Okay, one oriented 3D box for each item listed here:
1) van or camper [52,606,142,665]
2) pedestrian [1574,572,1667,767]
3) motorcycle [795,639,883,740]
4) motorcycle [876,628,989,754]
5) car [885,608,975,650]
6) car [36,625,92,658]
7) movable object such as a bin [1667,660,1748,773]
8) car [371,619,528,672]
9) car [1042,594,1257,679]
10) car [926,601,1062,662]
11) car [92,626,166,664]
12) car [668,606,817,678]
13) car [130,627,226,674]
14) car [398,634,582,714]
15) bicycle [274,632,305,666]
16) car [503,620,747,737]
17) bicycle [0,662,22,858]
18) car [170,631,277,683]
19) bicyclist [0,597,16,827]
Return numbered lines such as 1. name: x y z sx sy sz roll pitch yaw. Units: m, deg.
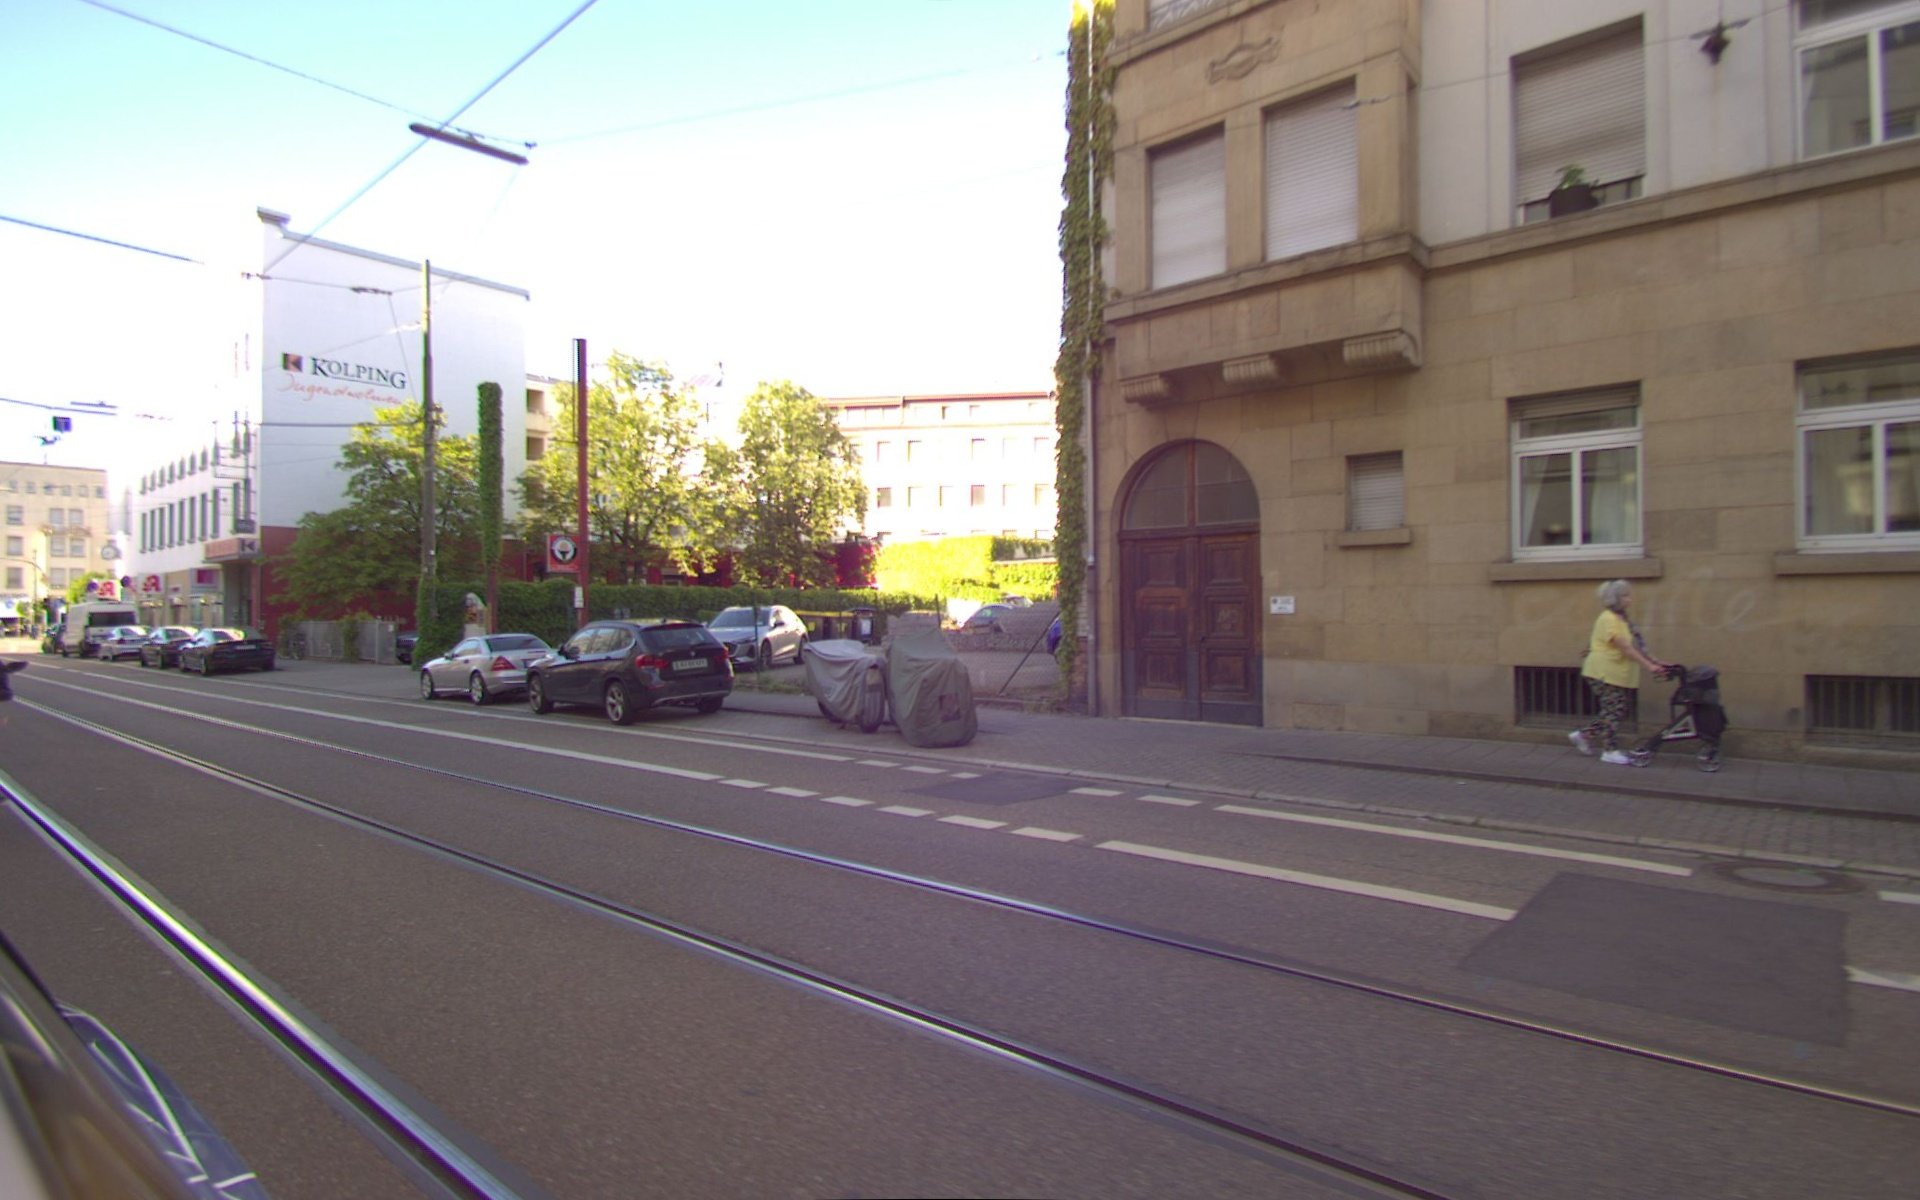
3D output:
1. van or camper: -39.977 1.617 46.821 6.228 2.486 2.150 -1 0 41
2. pedestrian: 6.177 0.620 9.459 0.616 1.737 0.672 -1 -1 41
3. motorcycle: -1.673 1.156 13.667 0.729 1.180 2.187 -1 -1 -19
4. motorcycle: -0.379 1.040 12.326 0.871 1.361 1.963 -1 -1 -17
5. car: -1.165 1.147 40.883 1.796 1.566 3.958 -1 -1 31
6. car: -47.308 2.149 53.407 3.992 1.564 1.764 -1 1 42
7. movable object such as a bin: 6.590 1.004 8.919 0.518 0.907 0.606 -1 -1 41
8. car: -17.117 1.471 34.056 2.000 1.609 4.314 -1 -1 42
9. car: 3.745 0.701 20.353 3.907 1.537 1.734 -2 -1 42
10. car: 1.013 0.956 31.522 3.999 1.763 1.778 -2 -1 42
11. car: -34.732 1.826 42.241 4.444 1.409 1.764 -1 1 43
12. car: -5.003 0.930 24.018 1.976 1.529 4.785 -1 -1 8
13. car: -27.960 1.759 36.123 4.697 1.492 1.765 -1 1 41
14. car: -9.423 1.385 20.146 4.219 1.324 1.765 -1 1 41
15. bicycle: -24.538 1.773 37.016 2.050 1.183 0.435 -1 -1 42
16. car: -5.572 1.159 16.491 4.610 1.577 1.764 -1 1 43
17. bicycle: -6.984 1.062 6.896 1.752 1.208 0.757 -1 -1 43
18. car: -23.643 1.771 32.410 4.839 1.456 1.764 -1 1 42
19. bicyclist: -7.036 0.762 6.937 0.939 1.552 0.764 -1 -1 44
